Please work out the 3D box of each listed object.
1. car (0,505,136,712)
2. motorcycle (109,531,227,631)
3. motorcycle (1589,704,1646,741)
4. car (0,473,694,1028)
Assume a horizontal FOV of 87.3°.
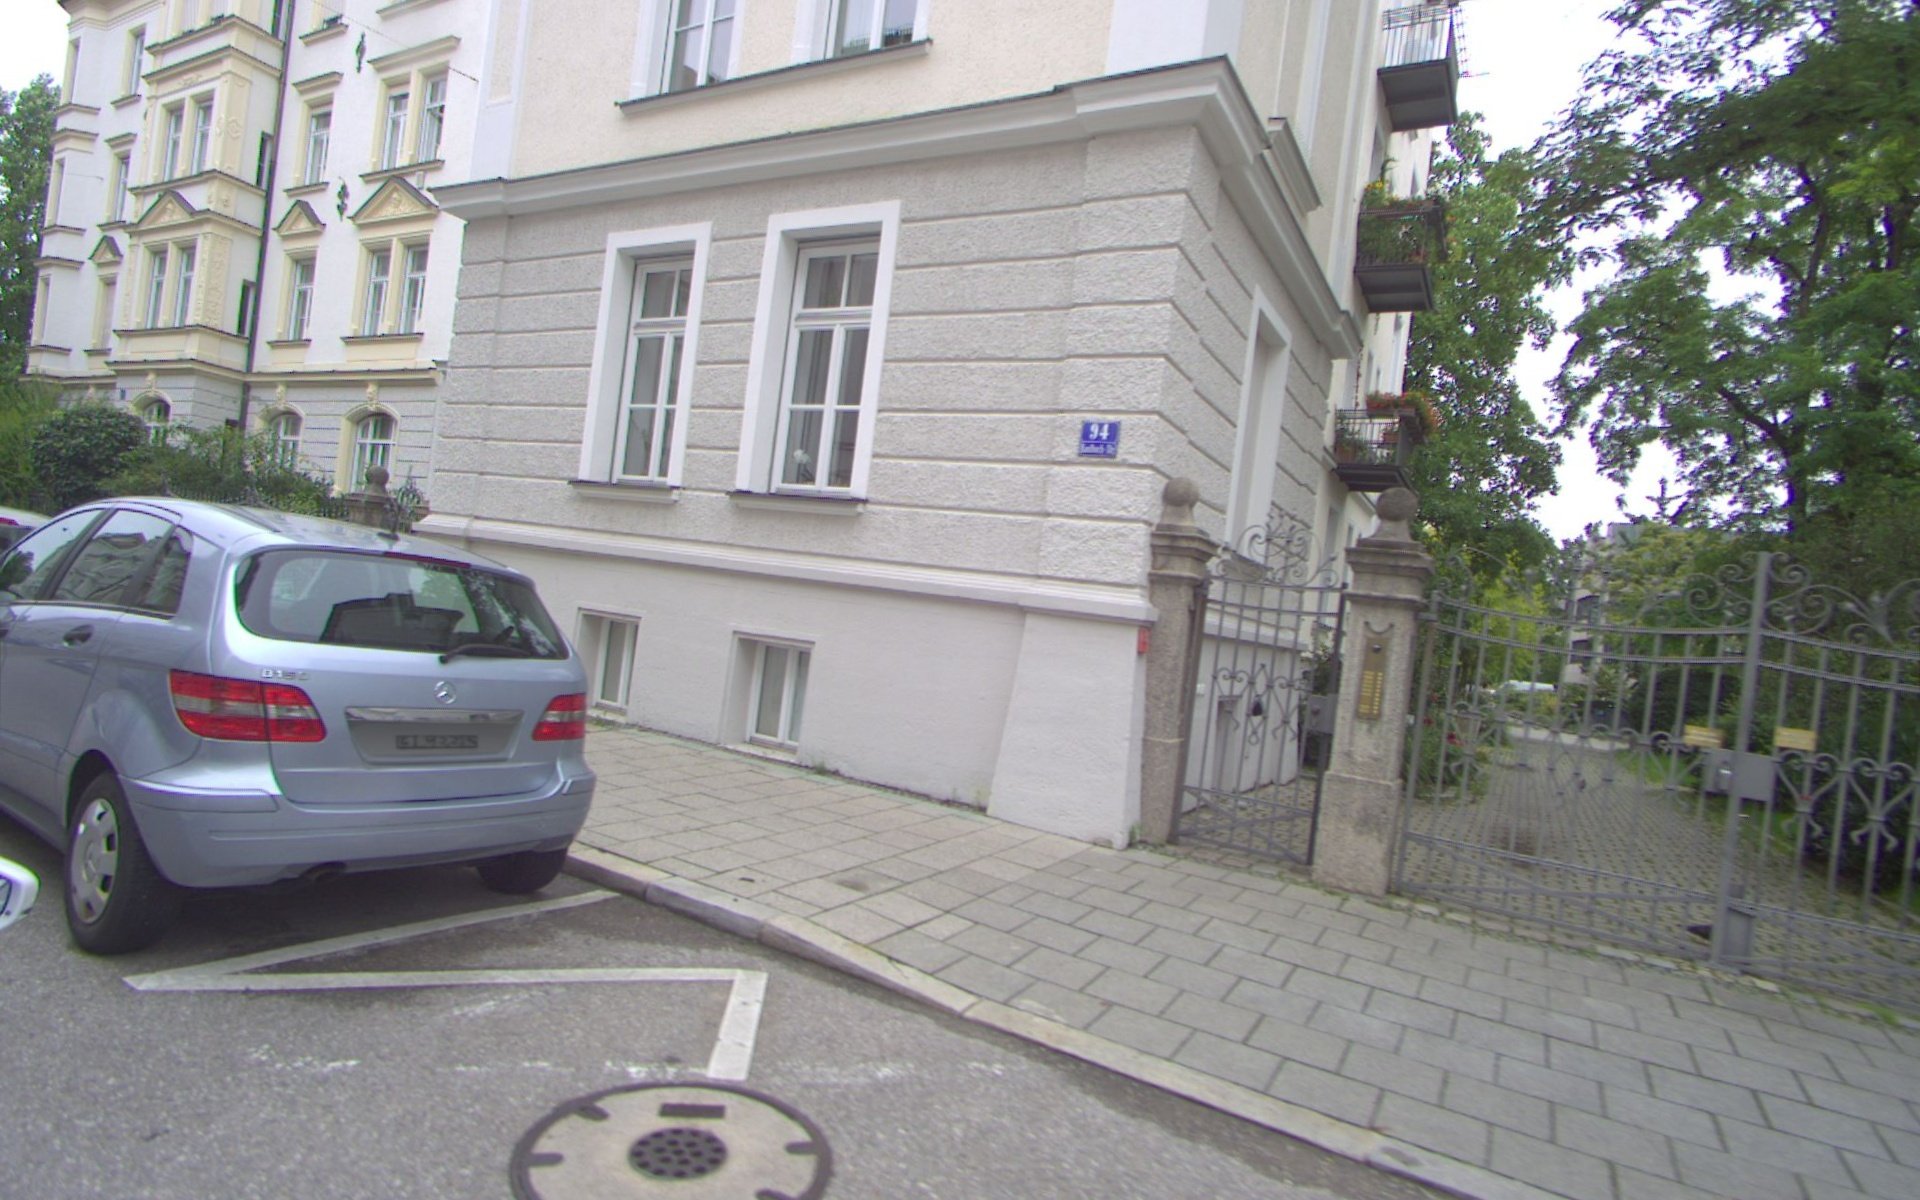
[{"bbox_3d":[-8.183,-0.117,7.696,3.393,1.423,1.758,7,-2,31],"label":"car"},{"bbox_3d":[-10.727,-0.271,13.605,1.933,1.126,0.607,7,0,34],"label":"motorcycle"},{"bbox_3d":[28.826,5.374,44.126,1.952,1.304,0.657,7,0,32],"label":"motorcycle"},{"bbox_3d":[-3.605,0.378,4.960,4.328,1.586,1.826,7,-3,33],"label":"car"}]
